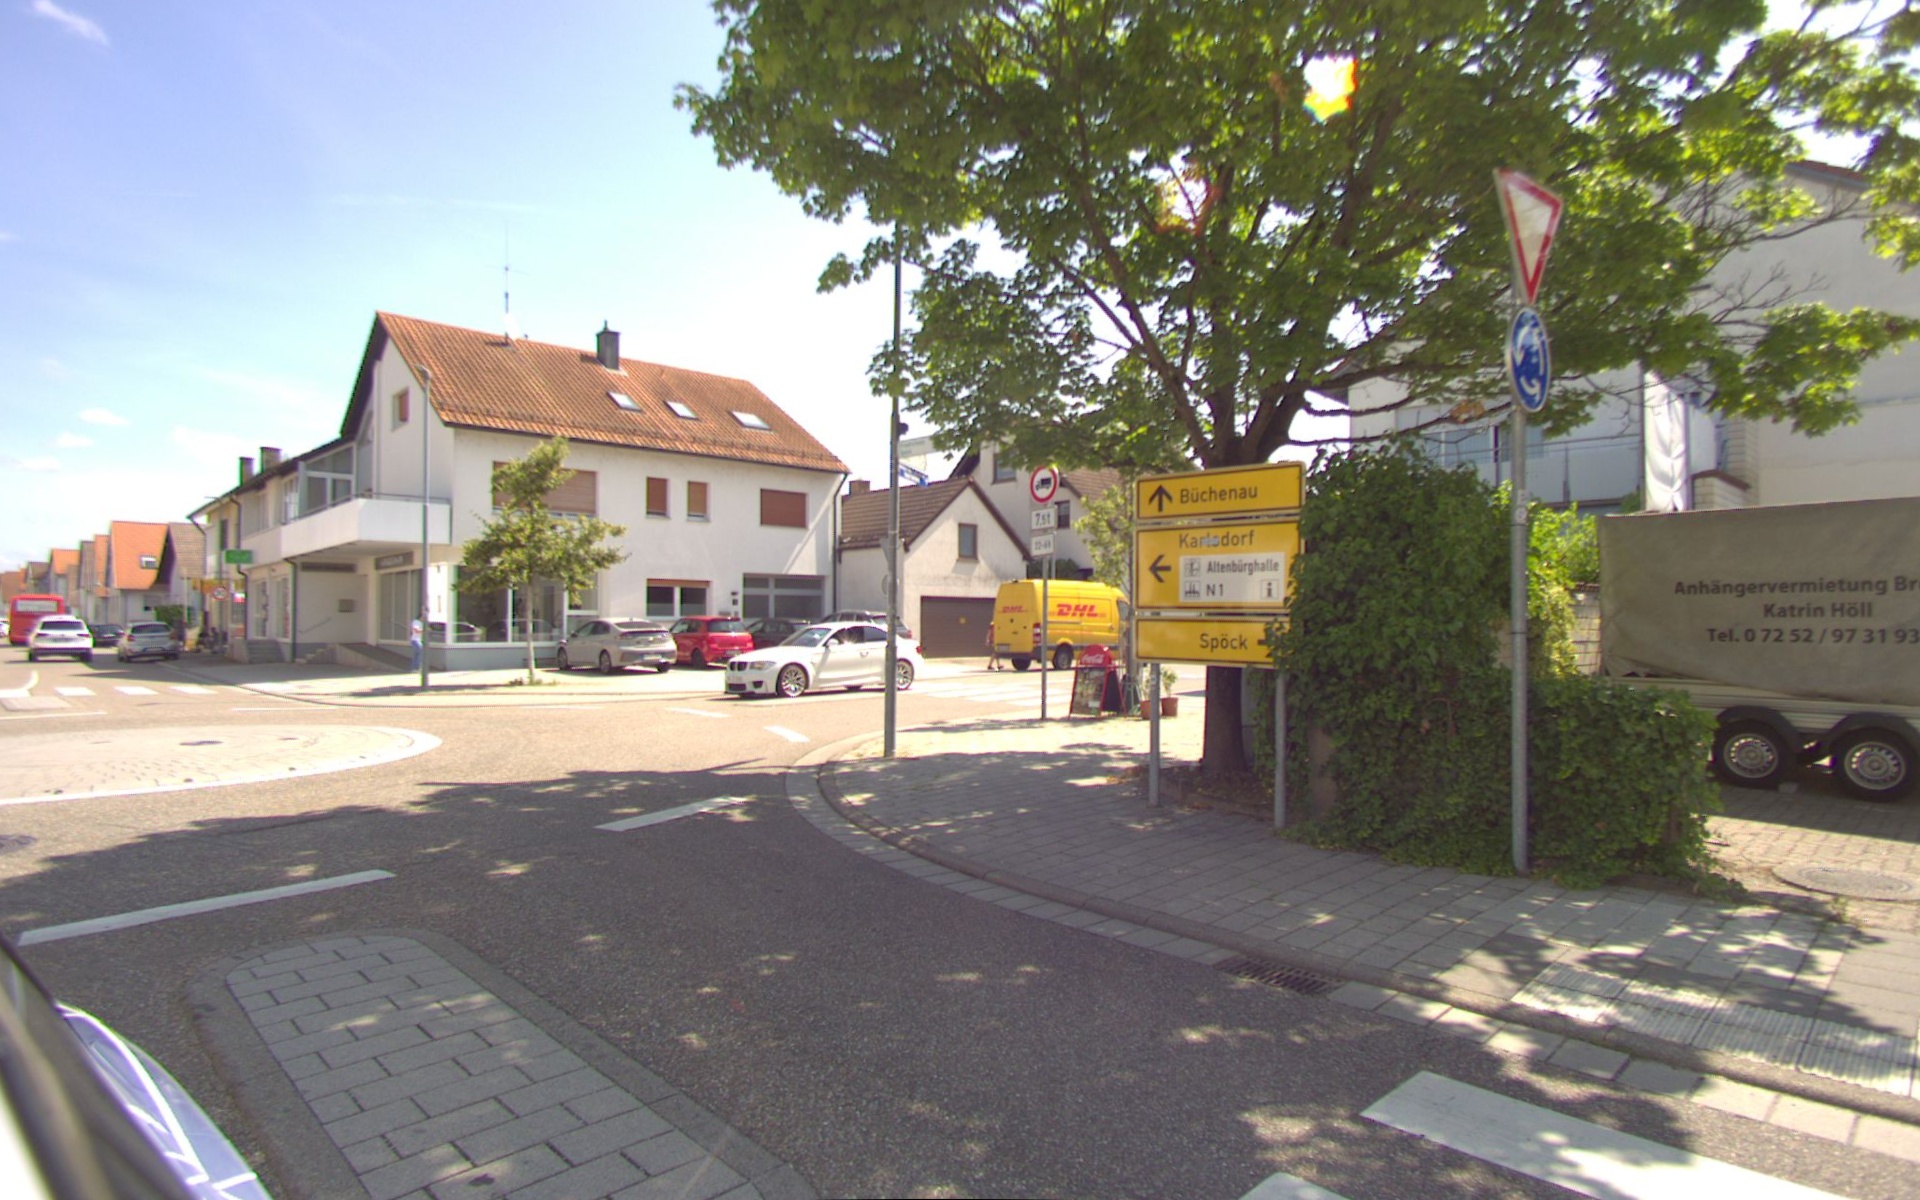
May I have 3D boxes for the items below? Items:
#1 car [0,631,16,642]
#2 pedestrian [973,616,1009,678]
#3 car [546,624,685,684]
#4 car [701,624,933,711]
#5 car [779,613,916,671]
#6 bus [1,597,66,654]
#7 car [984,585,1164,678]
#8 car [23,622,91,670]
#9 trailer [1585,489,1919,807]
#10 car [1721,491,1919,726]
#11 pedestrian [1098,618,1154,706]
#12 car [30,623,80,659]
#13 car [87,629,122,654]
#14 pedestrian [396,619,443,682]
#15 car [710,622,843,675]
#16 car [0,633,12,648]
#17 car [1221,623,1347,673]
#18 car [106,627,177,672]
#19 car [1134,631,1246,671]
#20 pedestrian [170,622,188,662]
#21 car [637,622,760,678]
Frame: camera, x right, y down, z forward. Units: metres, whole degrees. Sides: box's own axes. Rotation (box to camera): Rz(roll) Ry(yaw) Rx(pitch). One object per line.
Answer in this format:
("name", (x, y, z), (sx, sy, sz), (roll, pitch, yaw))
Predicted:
("car", (-122.725, 4.664, 130.168), (3.853, 1.439, 1.740), (-2, -3, 44))
("pedestrian", (0.957, 1.430, 30.937), (0.777, 1.840, 1.016), (-3, -3, 20))
("car", (-9.386, 1.383, 27.381), (1.809, 1.462, 4.482), (1, -2, -44))
("car", (-2.759, 1.275, 20.184), (4.269, 1.460, 1.883), (0, -2, -44))
("car", (-3.745, 1.324, 33.093), (1.958, 1.752, 4.753), (1, -2, -44))
("bus", (-58.670, 1.675, 63.979), (2.596, 3.257, 12.032), (4, -4, -44))
("car", (3.548, 0.962, 30.832), (5.593, 2.592, 2.117), (2, -3, -39))
("car", (-34.671, 1.737, 38.820), (1.843, 1.723, 4.547), (1, -2, -43))
("trailer", (7.846, 0.341, 8.052), (1.856, 2.353, 4.528), (-1, -1, -43))
("car", (11.984, 0.064, 10.993), (1.913, 2.586, 5.653), (-1, -1, -43))
("pedestrian", (3.129, 1.165, 19.157), (0.868, 1.601, 0.750), (-1, -2, 0))
("car", (-47.582, 2.155, 53.178), (1.751, 1.835, 4.445), (3, -4, -44))
("car", (-51.595, 2.488, 61.006), (1.437, 1.381, 3.388), (-2, 0, -42))
("pedestrian", (-14.254, 1.314, 26.709), (0.955, 1.595, 0.748), (-1, 0, 37))
("car", (-5.655, 1.419, 30.789), (1.809, 1.462, 4.482), (1, -2, -44))
("car", (-95.738, 4.028, 100.743), (4.189, 1.439, 1.740), (-2, -3, 44))
("car", (10.551, 1.505, 32.809), (4.348, 1.361, 1.883), (-1, 0, -41))
("car", (-32.205, 1.908, 39.797), (1.724, 1.527, 4.002), (-4, 2, -45))
("car", (8.218, 1.784, 36.032), (3.909, 1.253, 1.790), (-1, -1, -38))
("pedestrian", (-36.215, 1.929, 46.934), (0.570, 1.803, 0.694), (-1, 0, -44))
("car", (-7.635, 1.383, 29.331), (1.727, 1.488, 3.967), (1, -2, -44))
